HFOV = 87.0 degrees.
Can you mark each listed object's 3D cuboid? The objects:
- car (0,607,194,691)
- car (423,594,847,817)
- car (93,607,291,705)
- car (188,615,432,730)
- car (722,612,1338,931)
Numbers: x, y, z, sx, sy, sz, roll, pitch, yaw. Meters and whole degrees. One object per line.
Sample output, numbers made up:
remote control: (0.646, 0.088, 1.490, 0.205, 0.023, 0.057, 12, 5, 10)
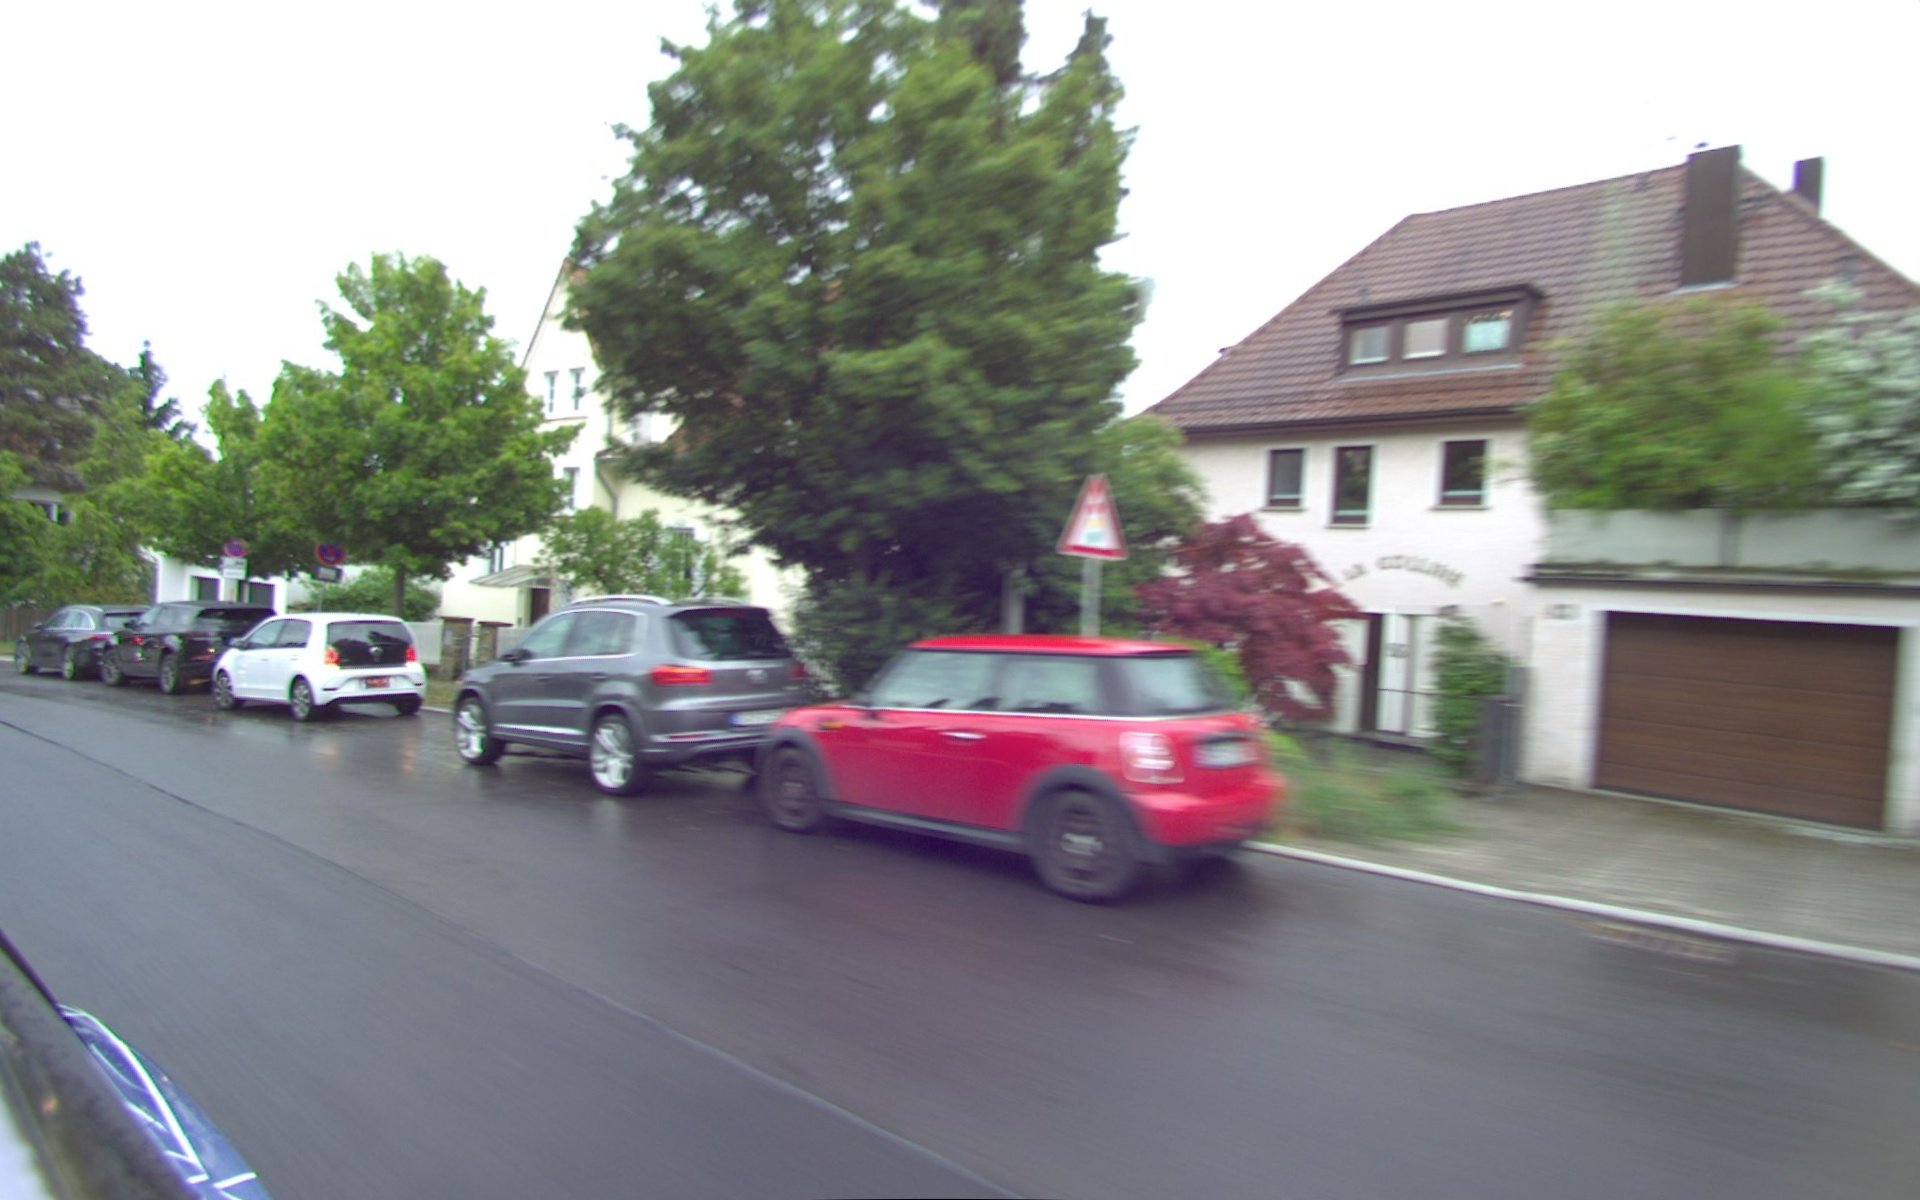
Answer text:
car: (-18.405, 0.948, 21.493, 4.890, 1.557, 1.852, 0, 0, 33)
car: (-3.281, 0.823, 9.755, 4.422, 1.681, 1.783, 0, -2, 40)
car: (-14.125, 0.927, 18.547, 4.201, 1.557, 1.718, 0, 1, 35)
car: (-9.784, 0.977, 15.149, 3.991, 1.477, 1.718, -1, 0, 35)
car: (0.266, 0.845, 6.699, 3.864, 1.483, 1.664, 0, -2, 42)
